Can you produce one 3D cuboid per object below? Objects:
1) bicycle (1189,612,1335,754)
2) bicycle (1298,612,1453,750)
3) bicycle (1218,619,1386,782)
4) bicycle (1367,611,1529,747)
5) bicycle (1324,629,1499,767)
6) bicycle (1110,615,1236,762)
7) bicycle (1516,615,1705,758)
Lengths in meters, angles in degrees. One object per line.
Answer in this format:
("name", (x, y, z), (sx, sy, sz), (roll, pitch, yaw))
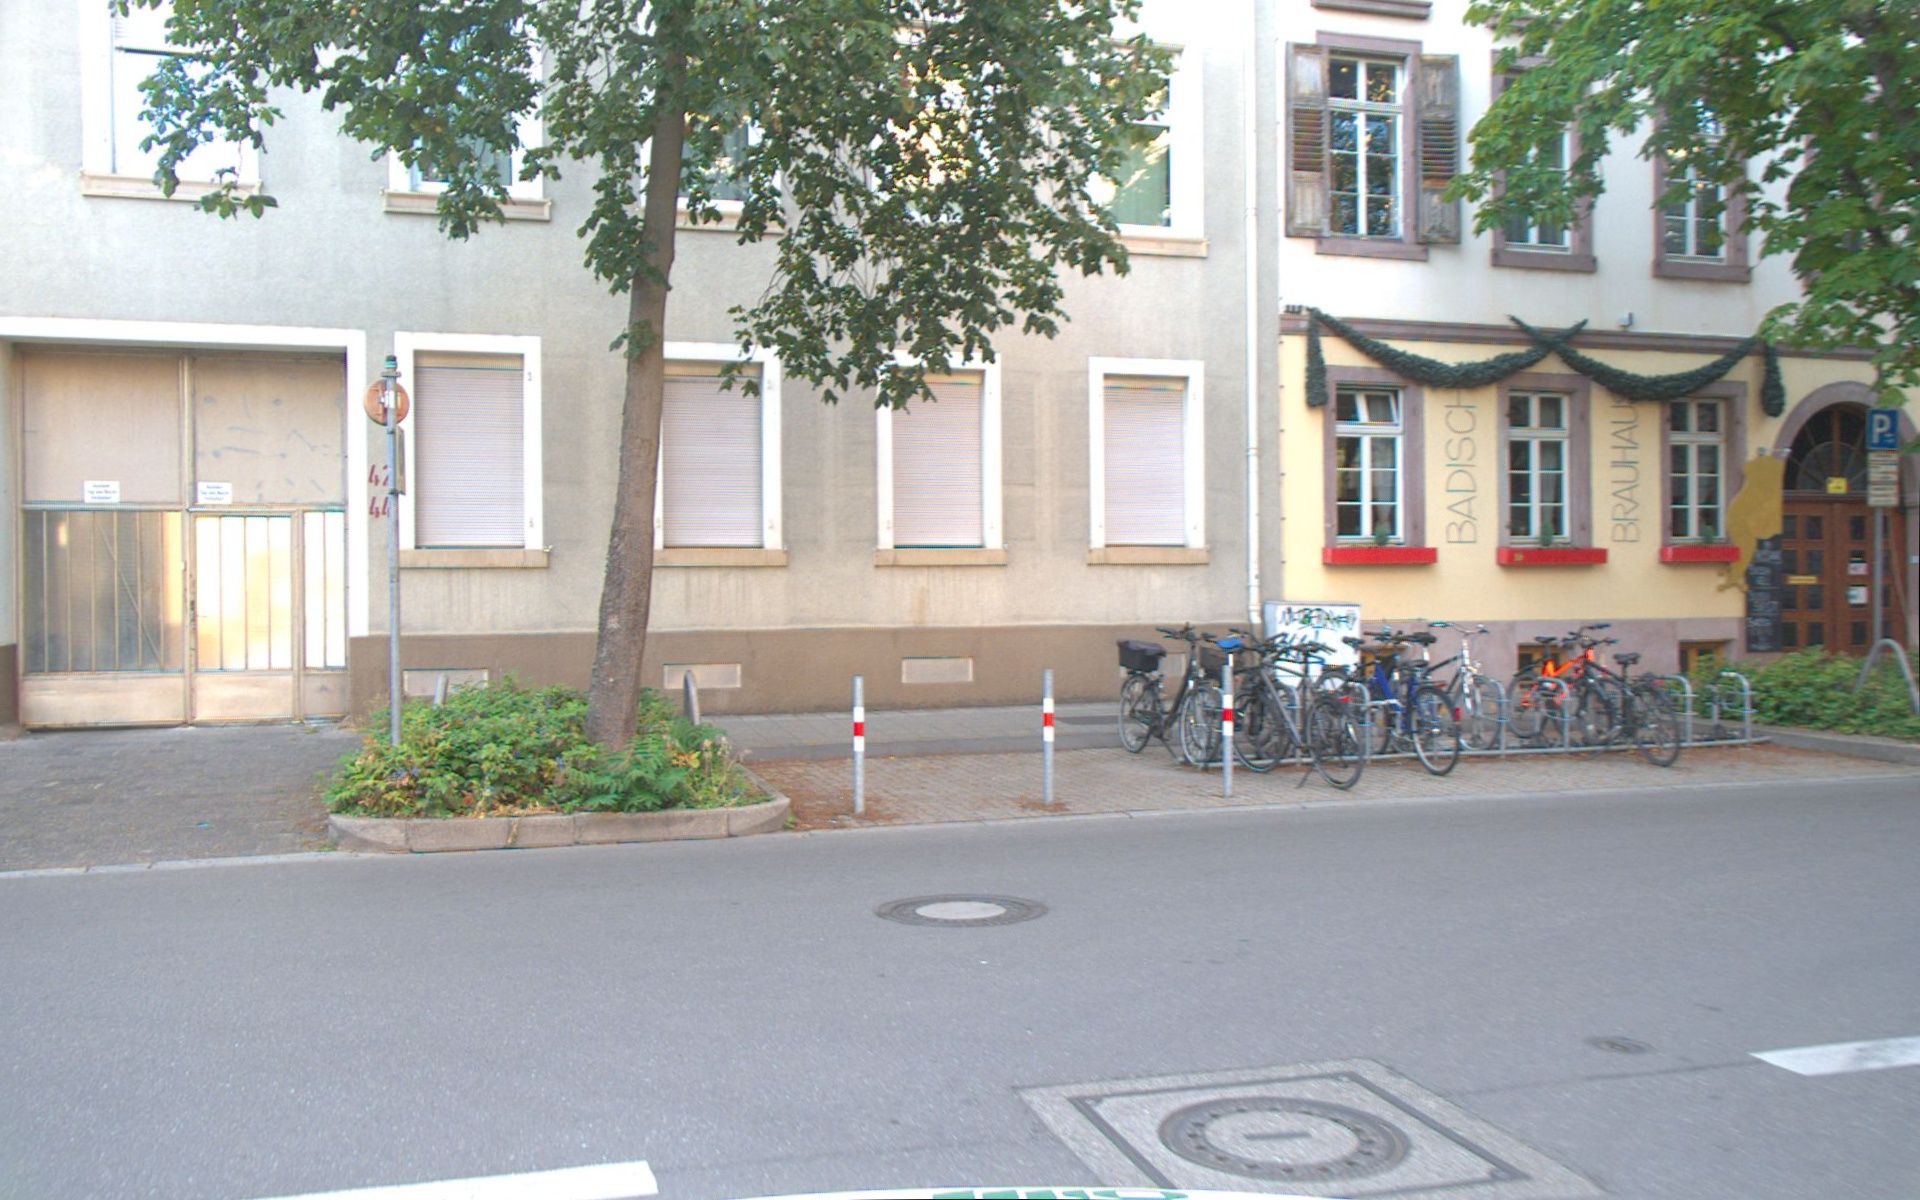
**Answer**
("bicycle", (2.706, 0.712, 15.053), (0.413, 1.165, 2.032), (-1, 1, -17))
("bicycle", (3.847, 0.715, 15.472), (0.413, 1.165, 2.032), (-1, 1, -17))
("bicycle", (2.711, 0.761, 13.329), (0.437, 1.165, 2.034), (-1, 1, -15))
("bicycle", (4.557, 0.699, 15.598), (0.413, 1.165, 2.032), (-1, 1, -17))
("bicycle", (3.782, 0.789, 14.037), (0.413, 1.021, 2.032), (-1, 1, -17))
("bicycle", (1.861, 0.742, 14.724), (0.437, 1.165, 2.035), (-1, 1, -13))
("bicycle", (5.827, 0.735, 14.946), (0.413, 1.165, 2.032), (-1, 1, -17))
